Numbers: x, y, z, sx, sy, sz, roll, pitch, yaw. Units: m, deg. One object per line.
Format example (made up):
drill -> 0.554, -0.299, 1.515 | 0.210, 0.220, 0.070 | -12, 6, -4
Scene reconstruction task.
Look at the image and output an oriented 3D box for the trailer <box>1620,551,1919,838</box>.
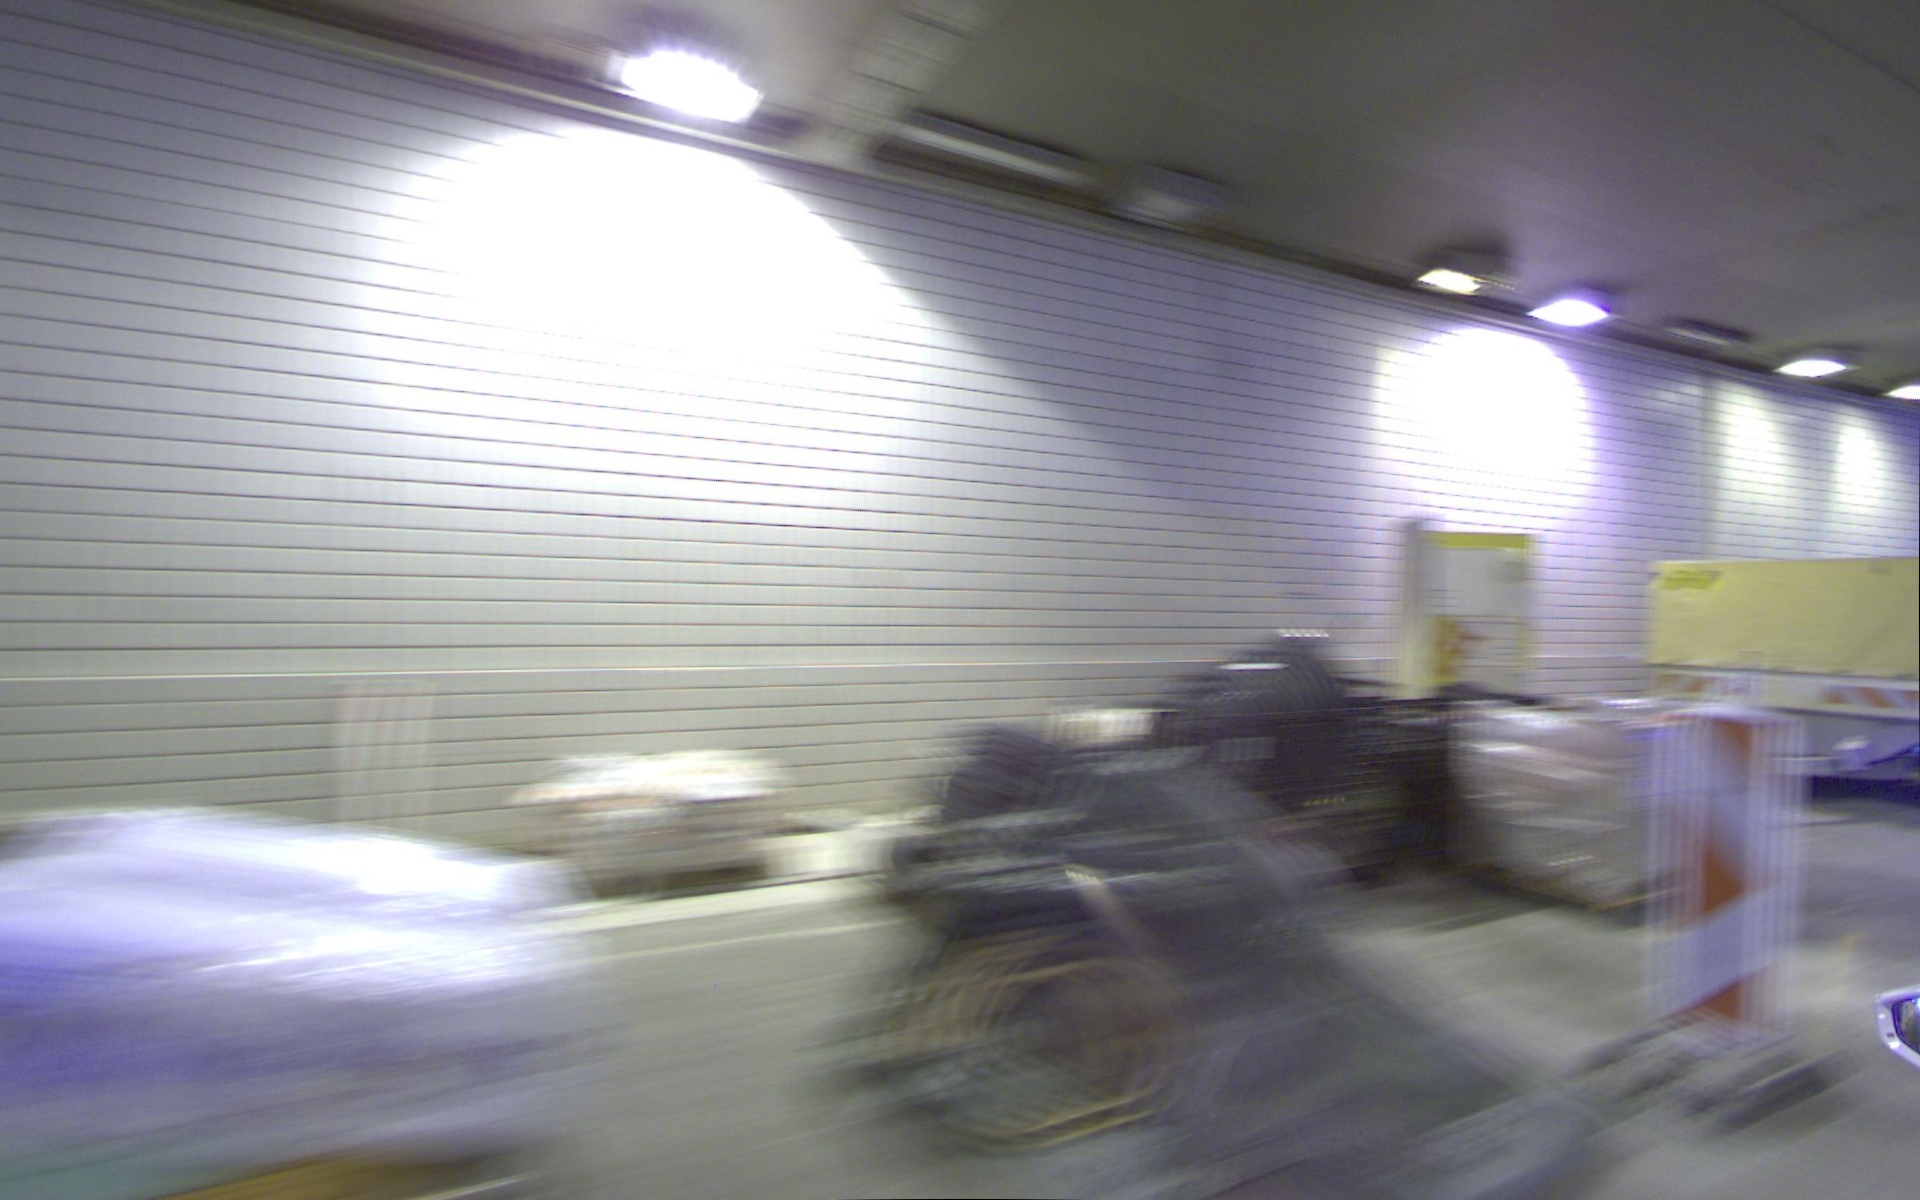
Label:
trailer -> 7.876, 0.713, 8.785 | 3.425, 2.040, 2.198 | 2, -1, -30
